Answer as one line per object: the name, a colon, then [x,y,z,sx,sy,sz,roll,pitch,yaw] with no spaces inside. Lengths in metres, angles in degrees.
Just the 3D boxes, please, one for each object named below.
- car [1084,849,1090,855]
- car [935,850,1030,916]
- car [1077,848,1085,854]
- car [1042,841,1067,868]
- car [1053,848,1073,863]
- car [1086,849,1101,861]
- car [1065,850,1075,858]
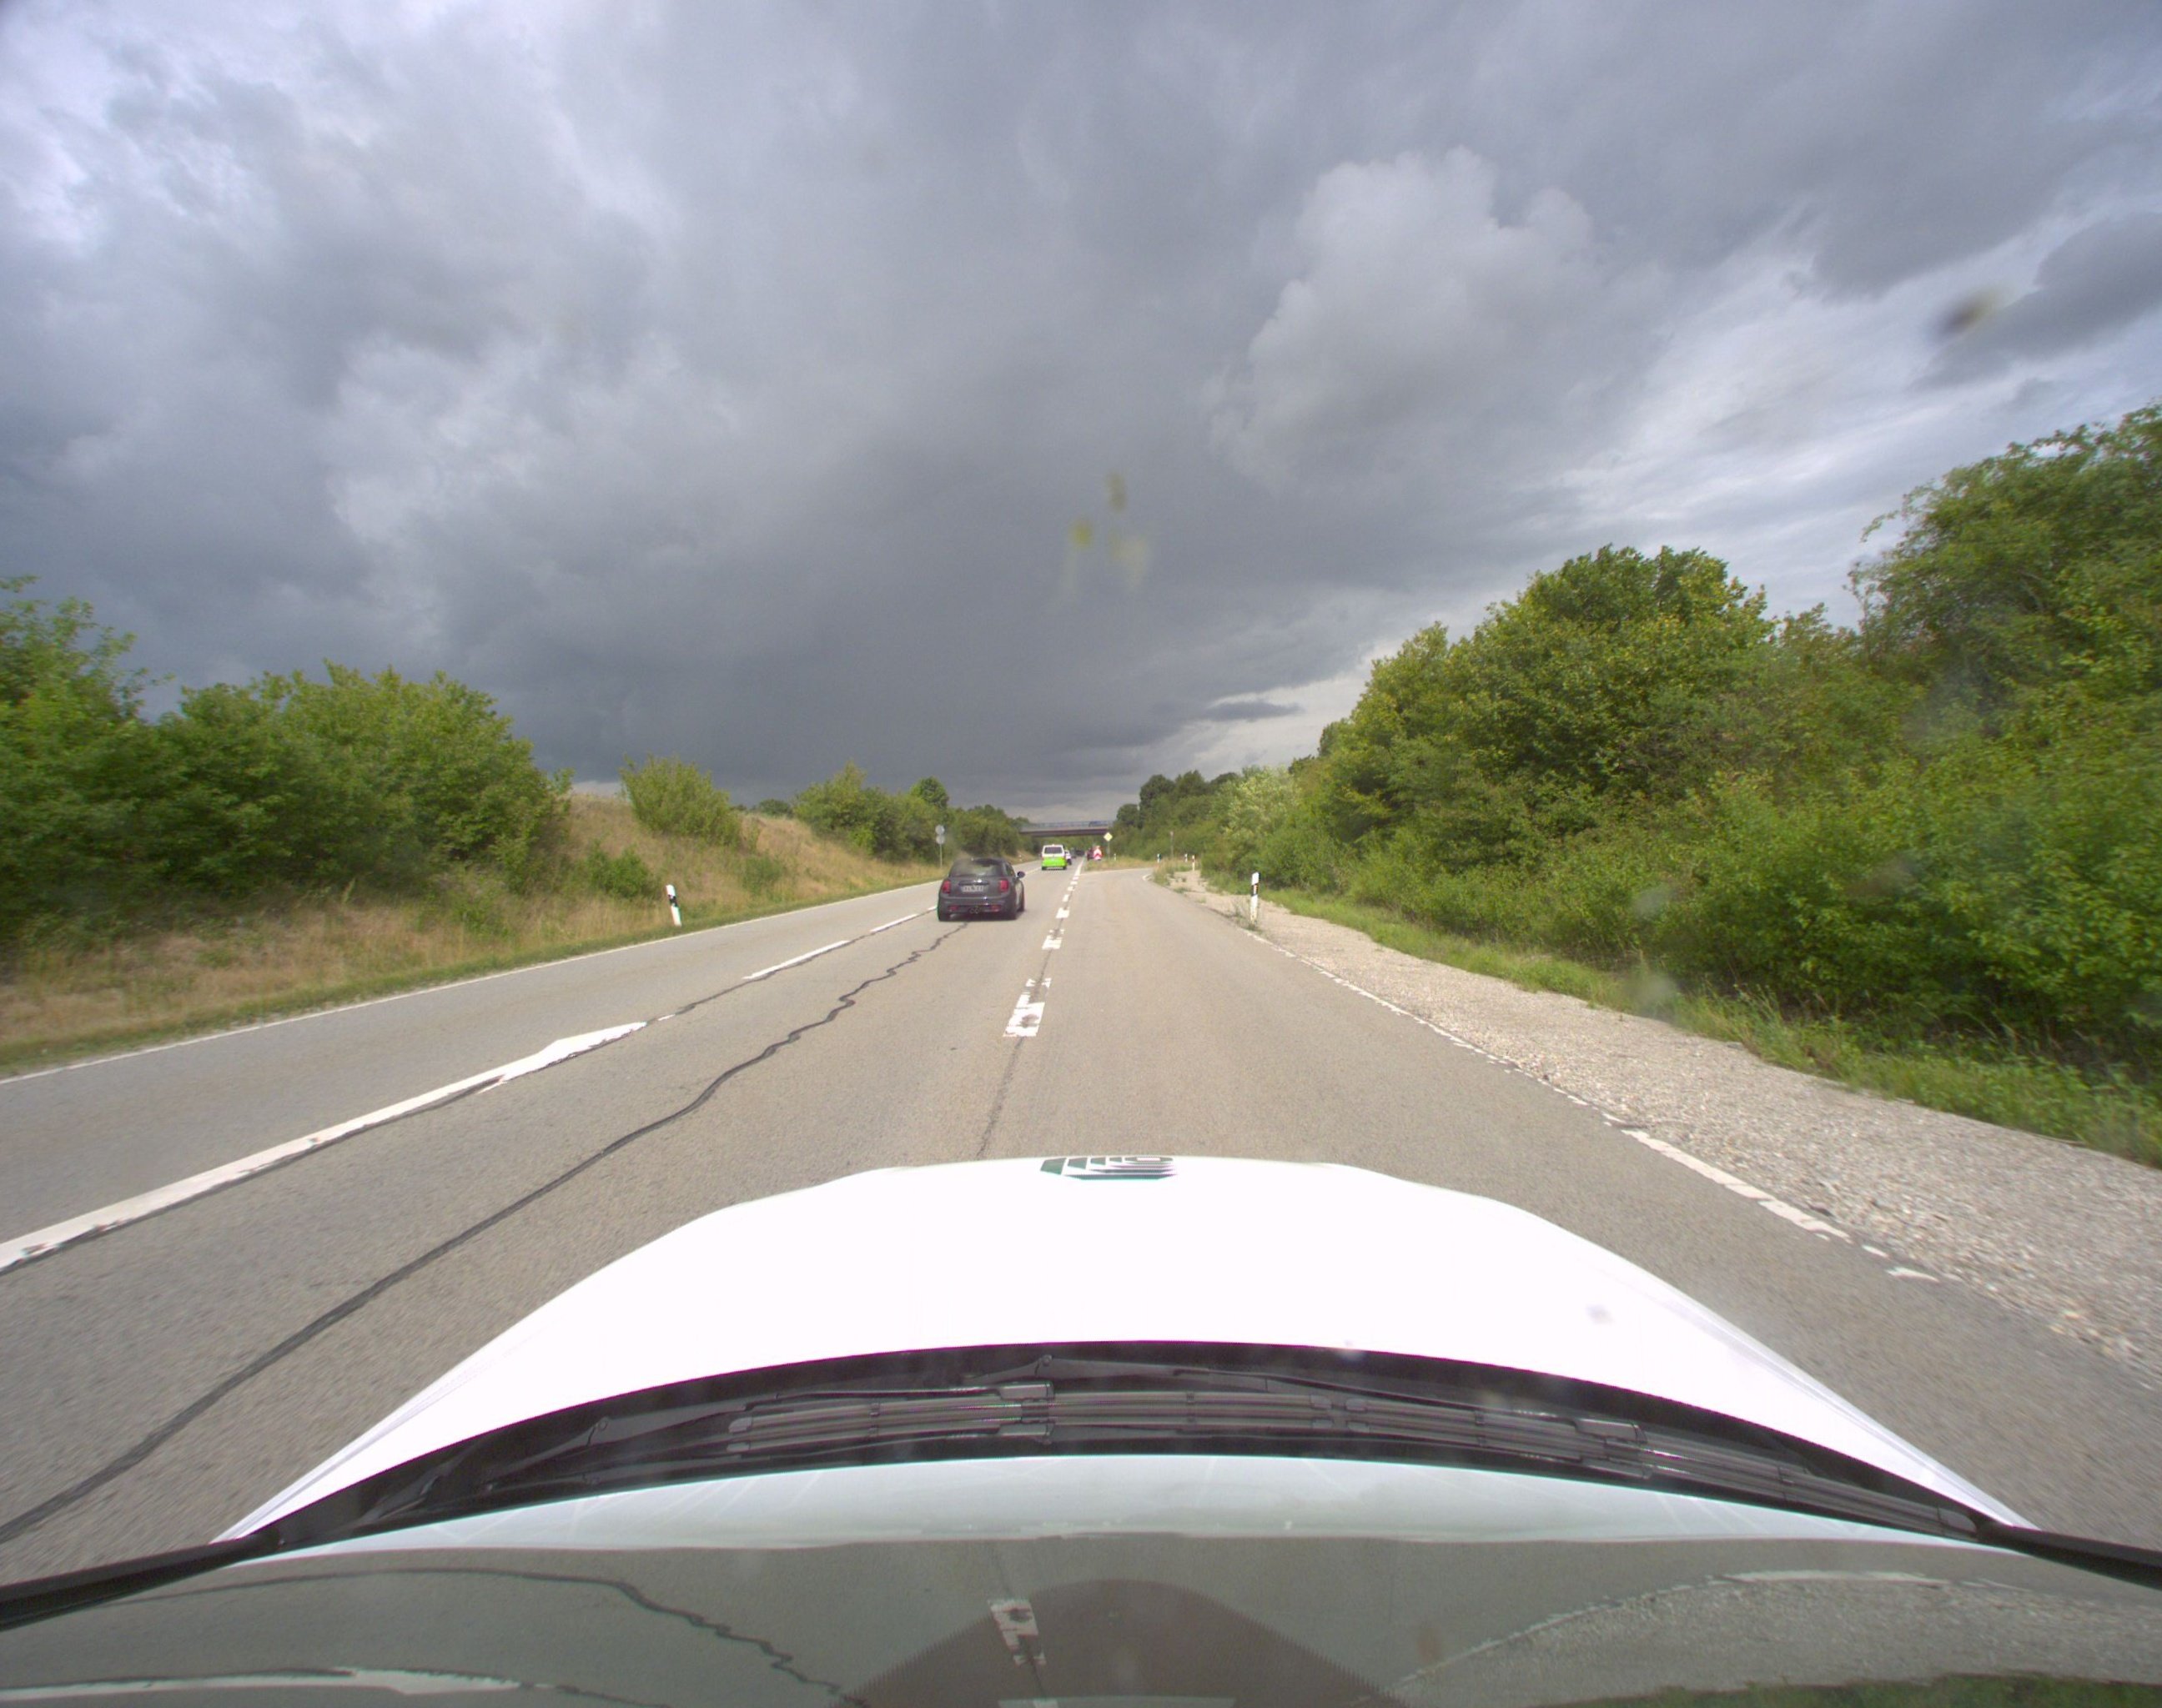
car: [1.633,-0.570,221.737,1.660,1.403,4.003,-1,0,3]
car: [-2.251,0.613,19.537,1.751,1.427,4.000,0,0,0]
car: [0.019,-0.635,198.429,1.661,1.403,4.000,-1,0,1]
car: [-2.033,0.035,64.249,1.813,2.054,4.000,0,0,0]
car: [-1.852,0.120,84.874,1.987,1.552,4.000,0,0,0]
car: [1.712,0.127,114.501,1.988,1.552,3.997,0,0,-2]
car: [-2.005,0.010,145.724,1.661,1.403,4.000,-1,0,0]
